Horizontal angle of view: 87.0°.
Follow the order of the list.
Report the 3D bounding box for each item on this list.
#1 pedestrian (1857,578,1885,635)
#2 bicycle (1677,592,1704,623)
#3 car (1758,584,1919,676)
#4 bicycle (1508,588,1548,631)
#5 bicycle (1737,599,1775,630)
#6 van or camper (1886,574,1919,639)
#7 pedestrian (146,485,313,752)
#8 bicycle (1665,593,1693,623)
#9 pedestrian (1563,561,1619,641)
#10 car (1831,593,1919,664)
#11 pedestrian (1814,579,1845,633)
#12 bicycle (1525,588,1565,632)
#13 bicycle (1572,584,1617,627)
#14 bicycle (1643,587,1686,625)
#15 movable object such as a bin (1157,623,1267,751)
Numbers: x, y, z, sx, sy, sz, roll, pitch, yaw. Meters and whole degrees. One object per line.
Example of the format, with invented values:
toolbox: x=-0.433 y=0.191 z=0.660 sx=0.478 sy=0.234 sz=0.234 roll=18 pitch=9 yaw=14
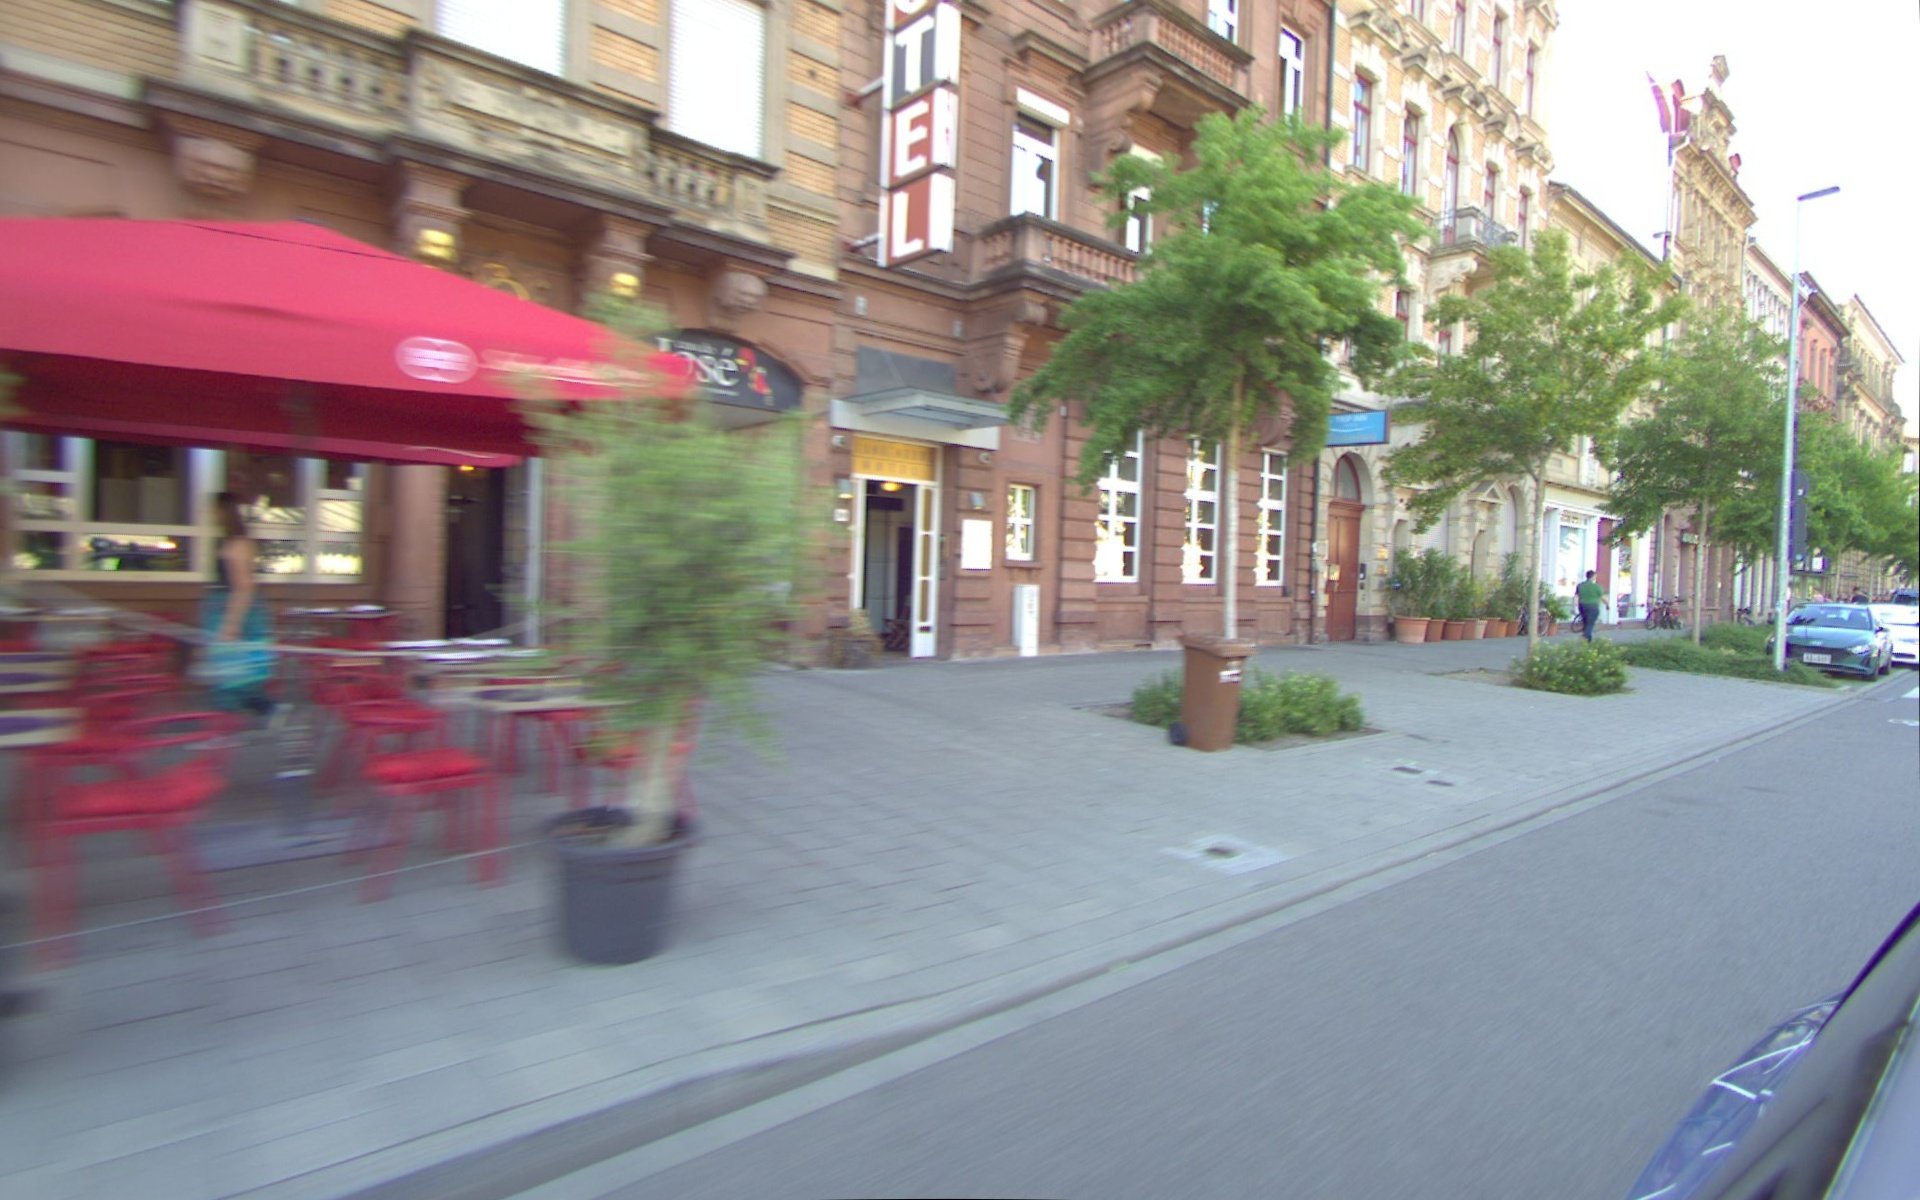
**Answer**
pedestrian: x=29.043 y=0.214 z=32.260 sx=0.495 sy=1.801 sz=0.473 roll=1 pitch=1 yaw=-22
bicycle: x=26.094 y=0.252 z=36.141 sx=2.037 sy=1.078 sz=0.325 roll=0 pitch=1 yaw=-42
car: x=18.024 y=0.551 z=20.685 sx=4.221 sy=1.583 sz=1.853 roll=0 pitch=4 yaw=-41
bicycle: x=14.910 y=0.247 z=26.554 sx=1.647 sy=1.093 sz=0.385 roll=0 pitch=1 yaw=-41
bicycle: x=25.349 y=0.441 z=32.235 sx=1.653 sy=0.927 sz=0.655 roll=0 pitch=1 yaw=-42
van or camper: x=32.466 y=0.253 z=33.505 sx=5.391 sy=1.995 sz=1.965 roll=0 pitch=4 yaw=-41
pedestrian: x=-4.611 y=0.084 z=6.384 sx=0.783 sy=1.552 sz=0.729 roll=0 pitch=4 yaw=-41
bicycle: x=25.865 y=0.289 z=36.406 sx=2.037 sy=1.046 sz=0.343 roll=0 pitch=1 yaw=-42
pedestrian: x=14.642 y=0.011 z=23.496 sx=1.053 sy=1.776 sz=0.749 roll=0 pitch=3 yaw=-41
car: x=22.793 y=0.640 z=24.567 sx=5.163 sy=1.471 sz=1.852 roll=0 pitch=4 yaw=-43
pedestrian: x=28.580 y=0.176 z=33.262 sx=0.566 sy=1.750 sz=0.482 roll=1 pitch=1 yaw=4
bicycle: x=15.202 y=0.247 z=26.293 sx=1.647 sy=1.093 sz=0.385 roll=0 pitch=1 yaw=-41
bicycle: x=18.719 y=0.161 z=29.843 sx=1.744 sy=1.210 sz=0.719 roll=0 pitch=2 yaw=-45
bicycle: x=23.947 y=0.203 z=34.385 sx=2.037 sy=1.235 sz=0.706 roll=0 pitch=1 yaw=-42
movable object such as a bin: x=2.064 y=0.692 z=8.341 sx=0.548 sy=0.935 sz=0.679 roll=1 pitch=4 yaw=-20
